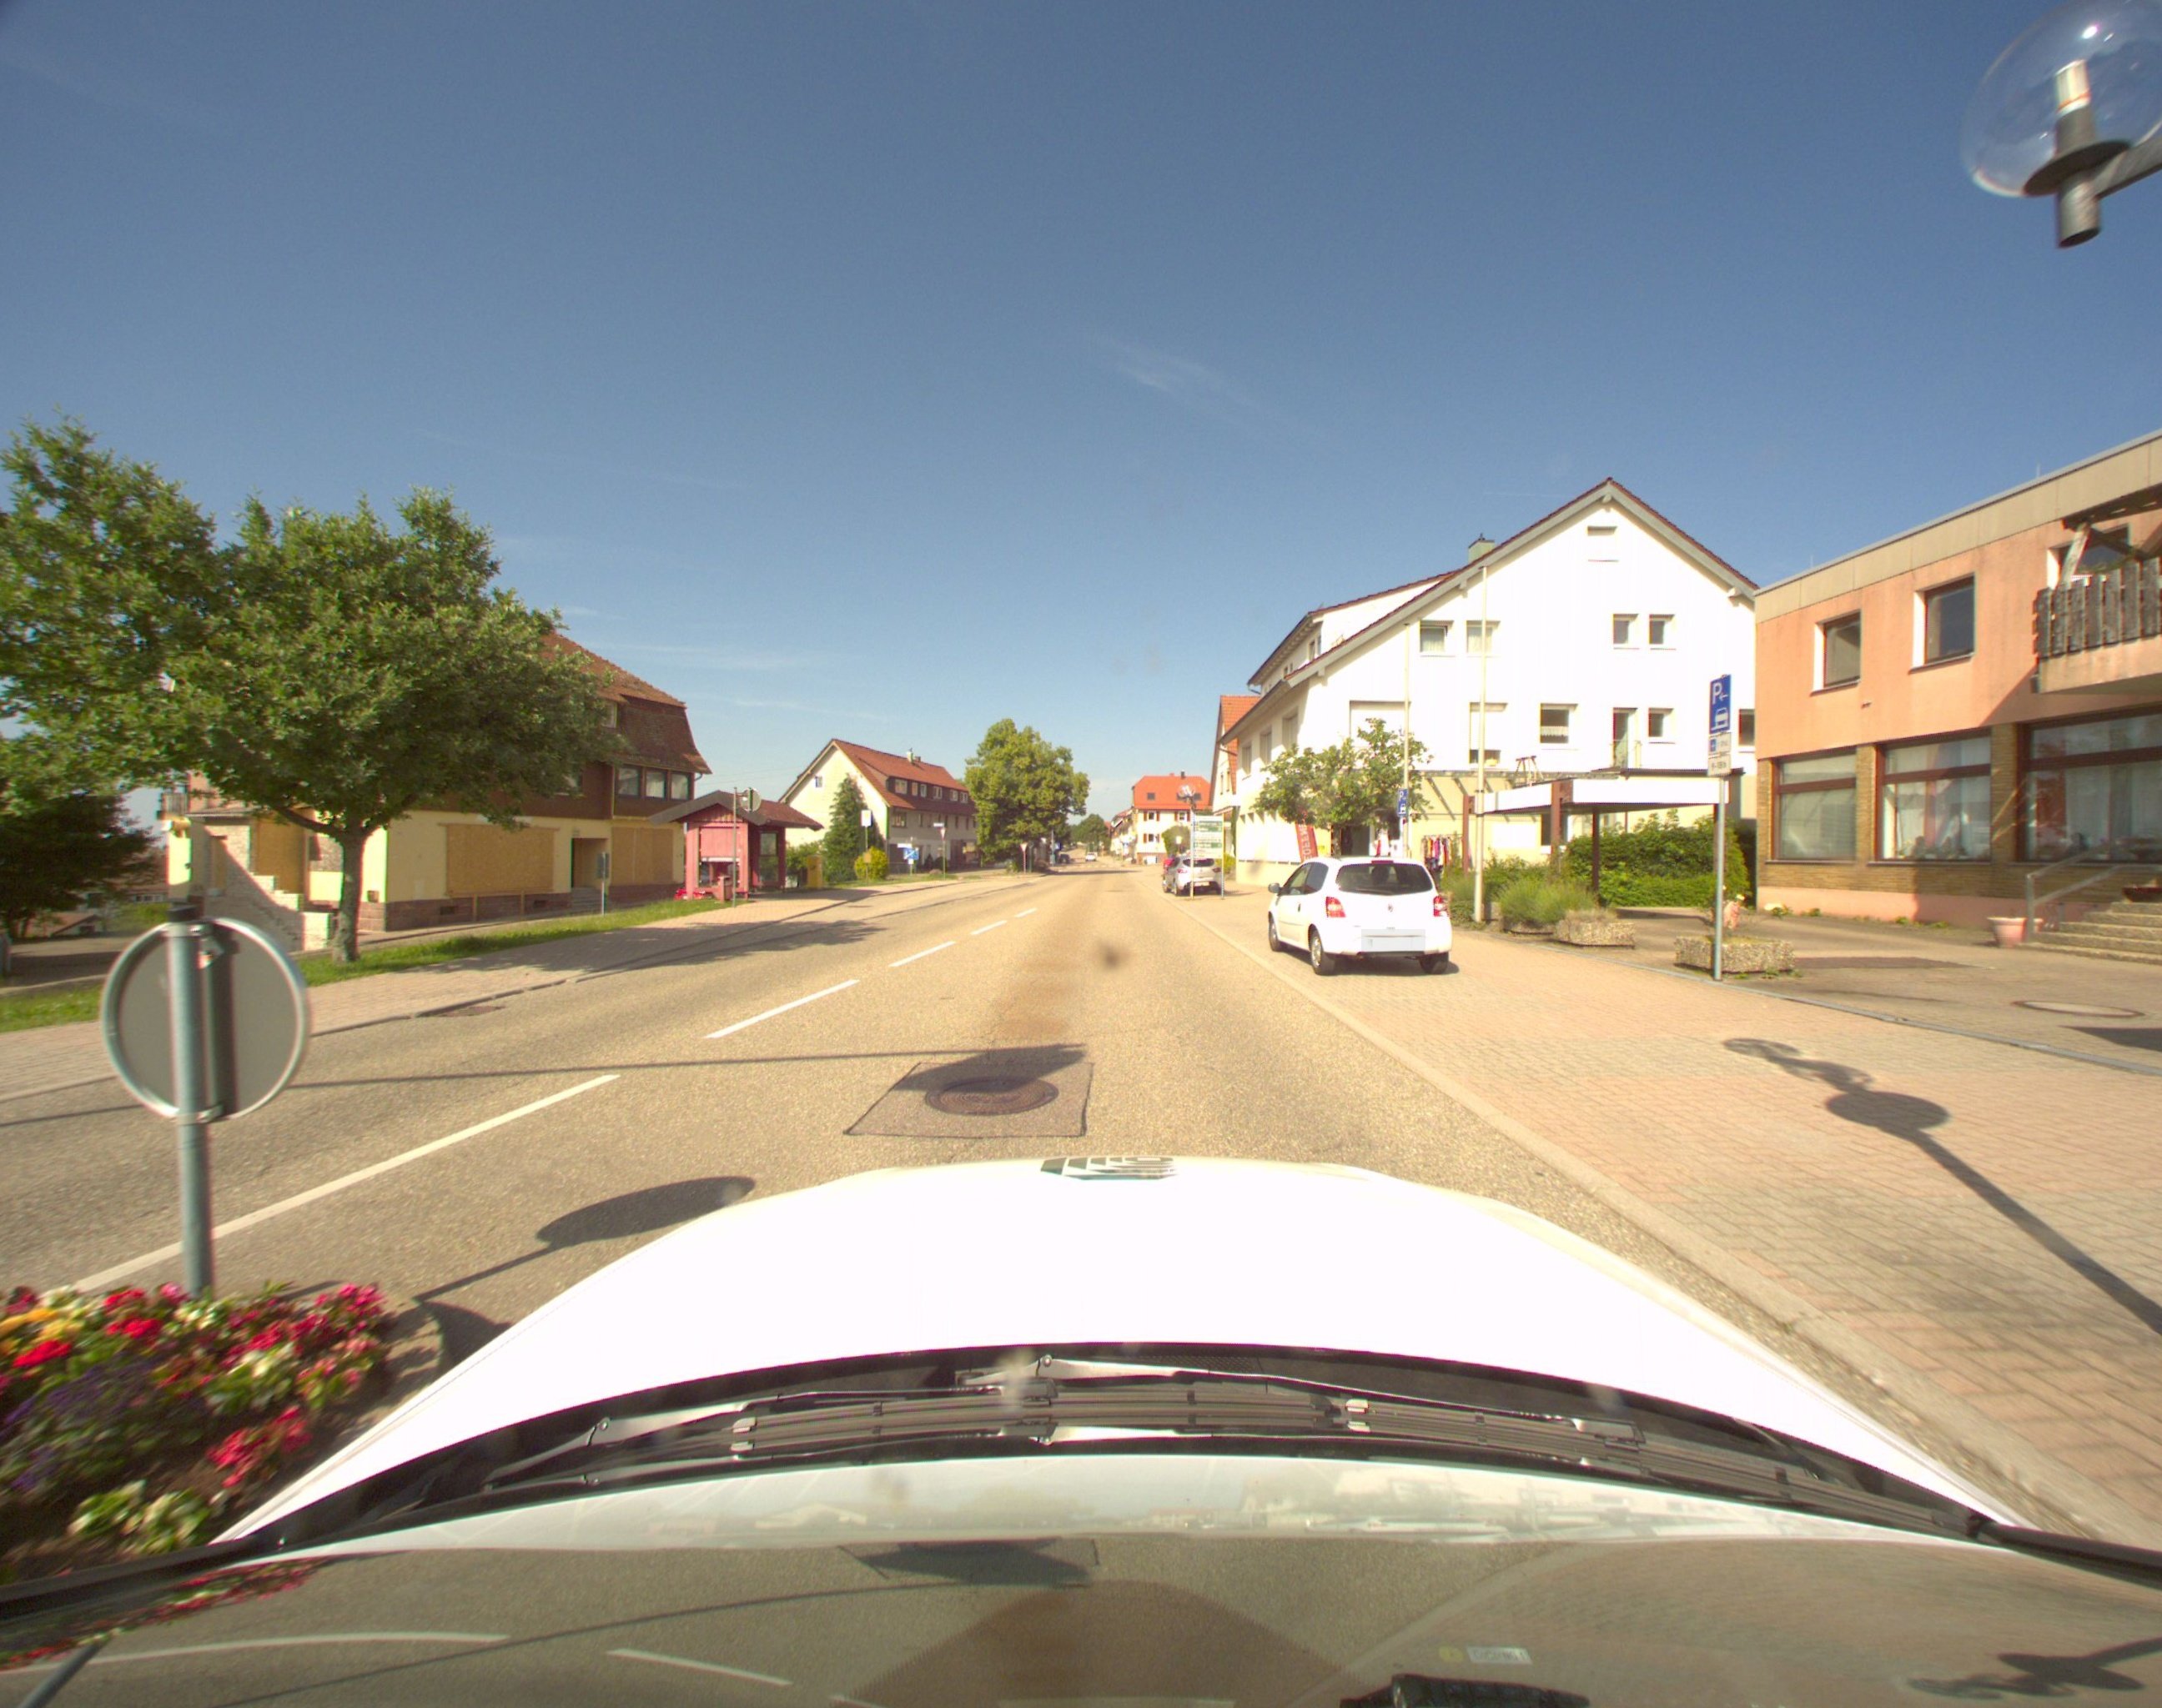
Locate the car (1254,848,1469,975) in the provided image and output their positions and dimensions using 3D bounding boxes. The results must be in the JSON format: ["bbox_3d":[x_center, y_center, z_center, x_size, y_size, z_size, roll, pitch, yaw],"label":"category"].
[{"bbox_3d":[3.688,0.678,11.401,1.754,1.423,3.634,-2,0,1],"label":"car"}]

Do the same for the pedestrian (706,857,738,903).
[{"bbox_3d":[-11.152,0.801,25.308,0.615,1.364,0.674,-3,1,0],"label":"pedestrian"}]

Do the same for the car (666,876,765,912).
[{"bbox_3d":[-15.964,1.713,35.773,1.707,1.297,4.017,-2,0,16],"label":"car"}]

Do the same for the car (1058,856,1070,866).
[{"bbox_3d":[-2.823,1.201,136.236,1.666,1.533,3.536,3,0,1],"label":"car"}]

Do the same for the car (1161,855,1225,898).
[{"bbox_3d":[4.034,0.778,29.920,1.631,1.420,3.932,-2,0,-2],"label":"car"}]

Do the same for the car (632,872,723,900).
[{"bbox_3d":[-22.519,1.765,45.465,4.274,1.511,1.805,0,-2,11],"label":"car"}]

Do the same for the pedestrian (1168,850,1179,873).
[{"bbox_3d":[7.453,0.617,65.504,0.795,1.784,0.981,-2,0,6],"label":"pedestrian"}]

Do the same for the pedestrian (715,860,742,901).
[{"bbox_3d":[-11.218,0.846,25.899,0.627,1.253,0.423,-3,-1,-2],"label":"pedestrian"}]

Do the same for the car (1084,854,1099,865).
[{"bbox_3d":[2.049,1.006,160.487,2.489,2.013,4.301,-3,0,-2],"label":"car"}]

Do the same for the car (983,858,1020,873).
[{"bbox_3d":[-8.816,1.295,90.369,3.733,1.455,1.823,-3,-6,13],"label":"car"}]

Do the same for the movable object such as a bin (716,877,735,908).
[{"bbox_3d":[-9.996,1.072,22.905,0.304,0.837,0.485,-2,-1,-1],"label":"movable object such as a bin"}]
